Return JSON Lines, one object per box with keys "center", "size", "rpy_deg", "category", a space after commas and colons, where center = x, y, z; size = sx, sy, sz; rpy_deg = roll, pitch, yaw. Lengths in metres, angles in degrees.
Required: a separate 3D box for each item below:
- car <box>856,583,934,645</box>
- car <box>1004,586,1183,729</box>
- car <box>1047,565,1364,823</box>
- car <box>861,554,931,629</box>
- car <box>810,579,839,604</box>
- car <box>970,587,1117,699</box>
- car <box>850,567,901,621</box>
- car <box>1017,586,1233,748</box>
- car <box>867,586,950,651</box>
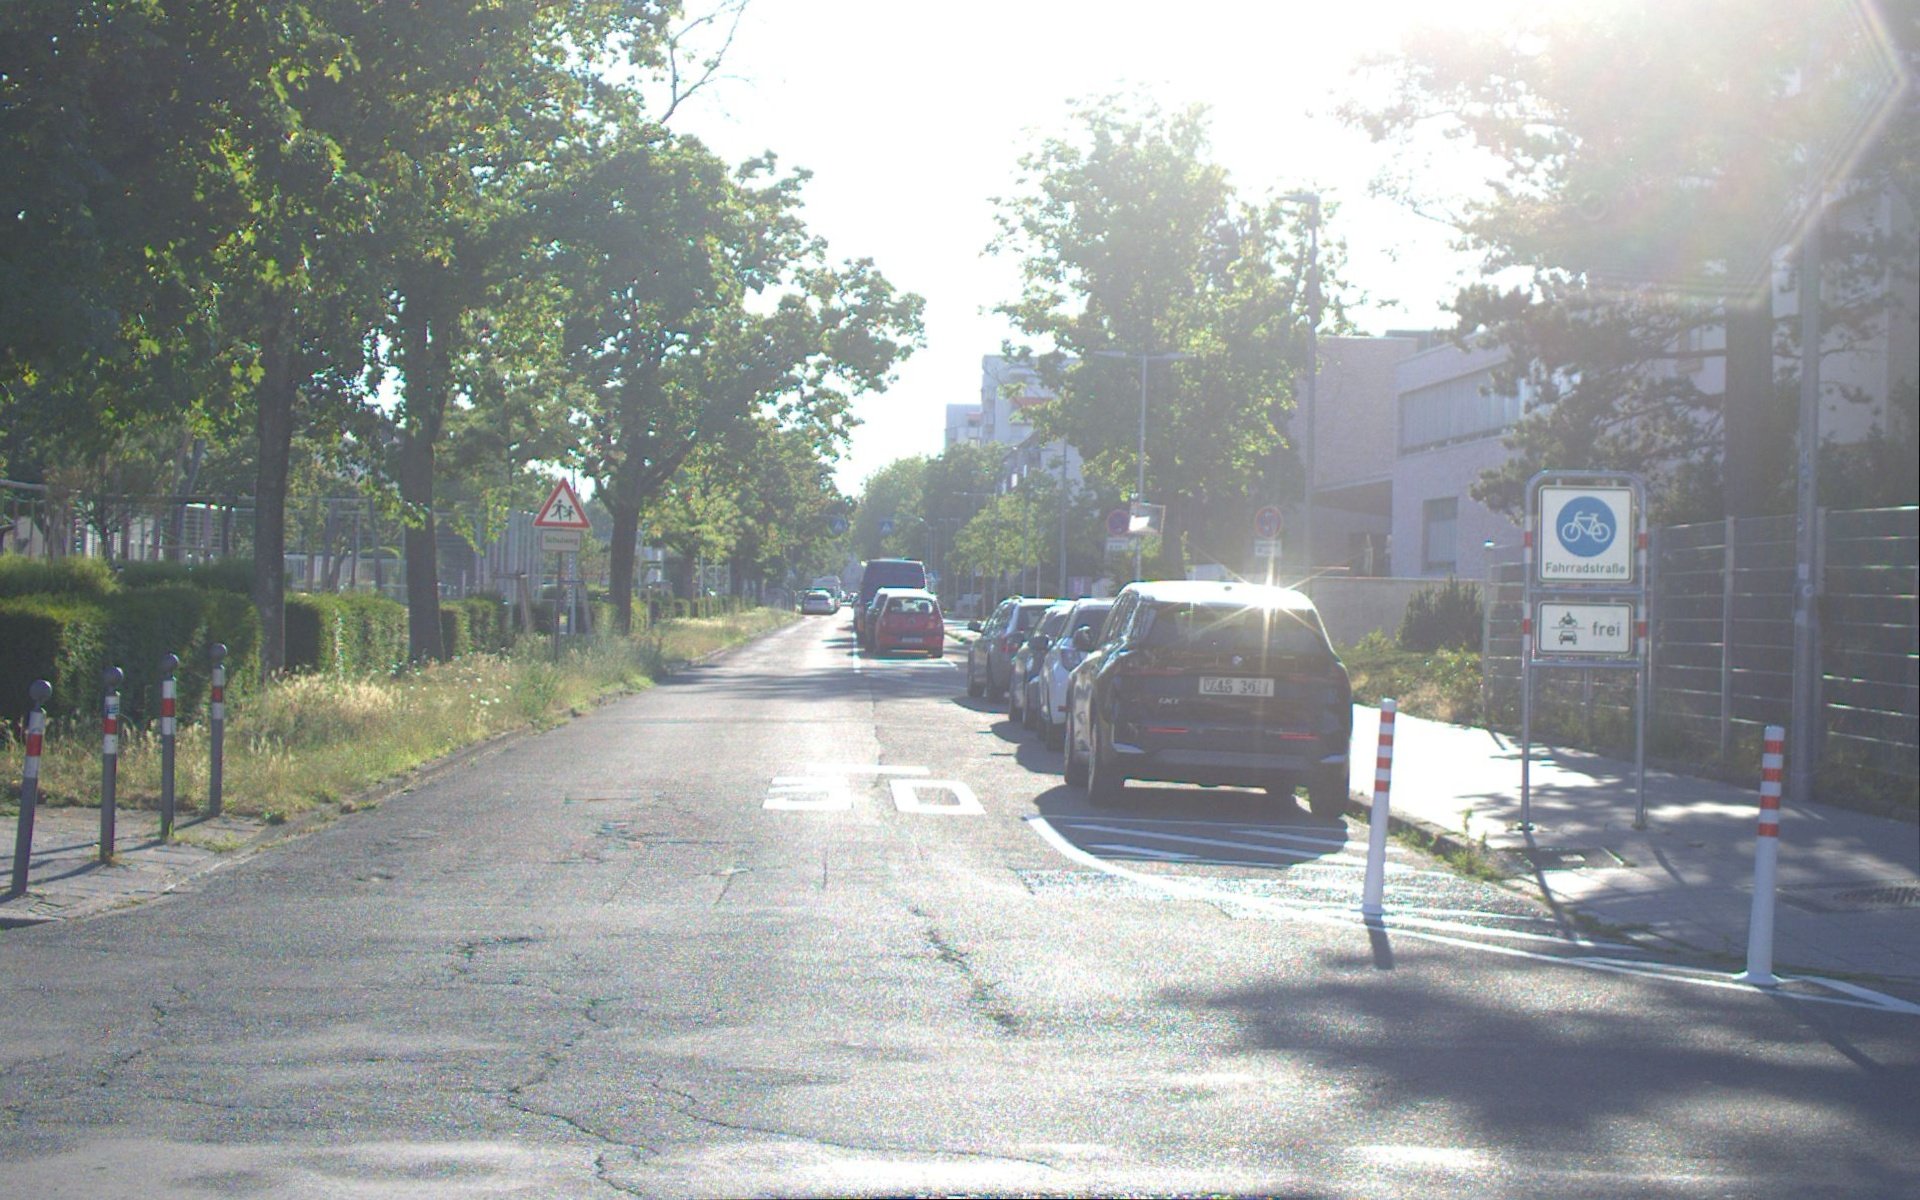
{"center": [-1.683, 0.350, 87.802], "size": [1.729, 1.513, 3.760], "rpy_deg": [1, 0, -4], "category": "car"}
{"center": [1.475, 0.620, 39.214], "size": [1.729, 1.513, 3.760], "rpy_deg": [1, 0, -2], "category": "car"}
{"center": [1.722, 0.638, 25.450], "size": [1.817, 1.636, 4.216], "rpy_deg": [4, 0, -2], "category": "car"}
{"center": [-1.895, -0.244, 100.846], "size": [1.993, 2.116, 4.000], "rpy_deg": [1, 0, -2], "category": "car"}
{"center": [-9.101, -0.584, 230.607], "size": [1.865, 1.612, 4.000], "rpy_deg": [1, 0, -3], "category": "car"}
{"center": [1.142, 0.577, 48.462], "size": [1.765, 1.521, 3.773], "rpy_deg": [0, 0, -3], "category": "car"}
{"center": [-3.463, -0.265, 140.073], "size": [1.993, 2.116, 4.000], "rpy_deg": [1, 0, -2], "category": "car"}
{"center": [1.589, 0.622, 34.234], "size": [1.765, 1.521, 3.773], "rpy_deg": [0, 0, -3], "category": "car"}
{"center": [-1.276, 0.429, 83.161], "size": [1.756, 1.513, 3.760], "rpy_deg": [1, 0, -4], "category": "car"}
